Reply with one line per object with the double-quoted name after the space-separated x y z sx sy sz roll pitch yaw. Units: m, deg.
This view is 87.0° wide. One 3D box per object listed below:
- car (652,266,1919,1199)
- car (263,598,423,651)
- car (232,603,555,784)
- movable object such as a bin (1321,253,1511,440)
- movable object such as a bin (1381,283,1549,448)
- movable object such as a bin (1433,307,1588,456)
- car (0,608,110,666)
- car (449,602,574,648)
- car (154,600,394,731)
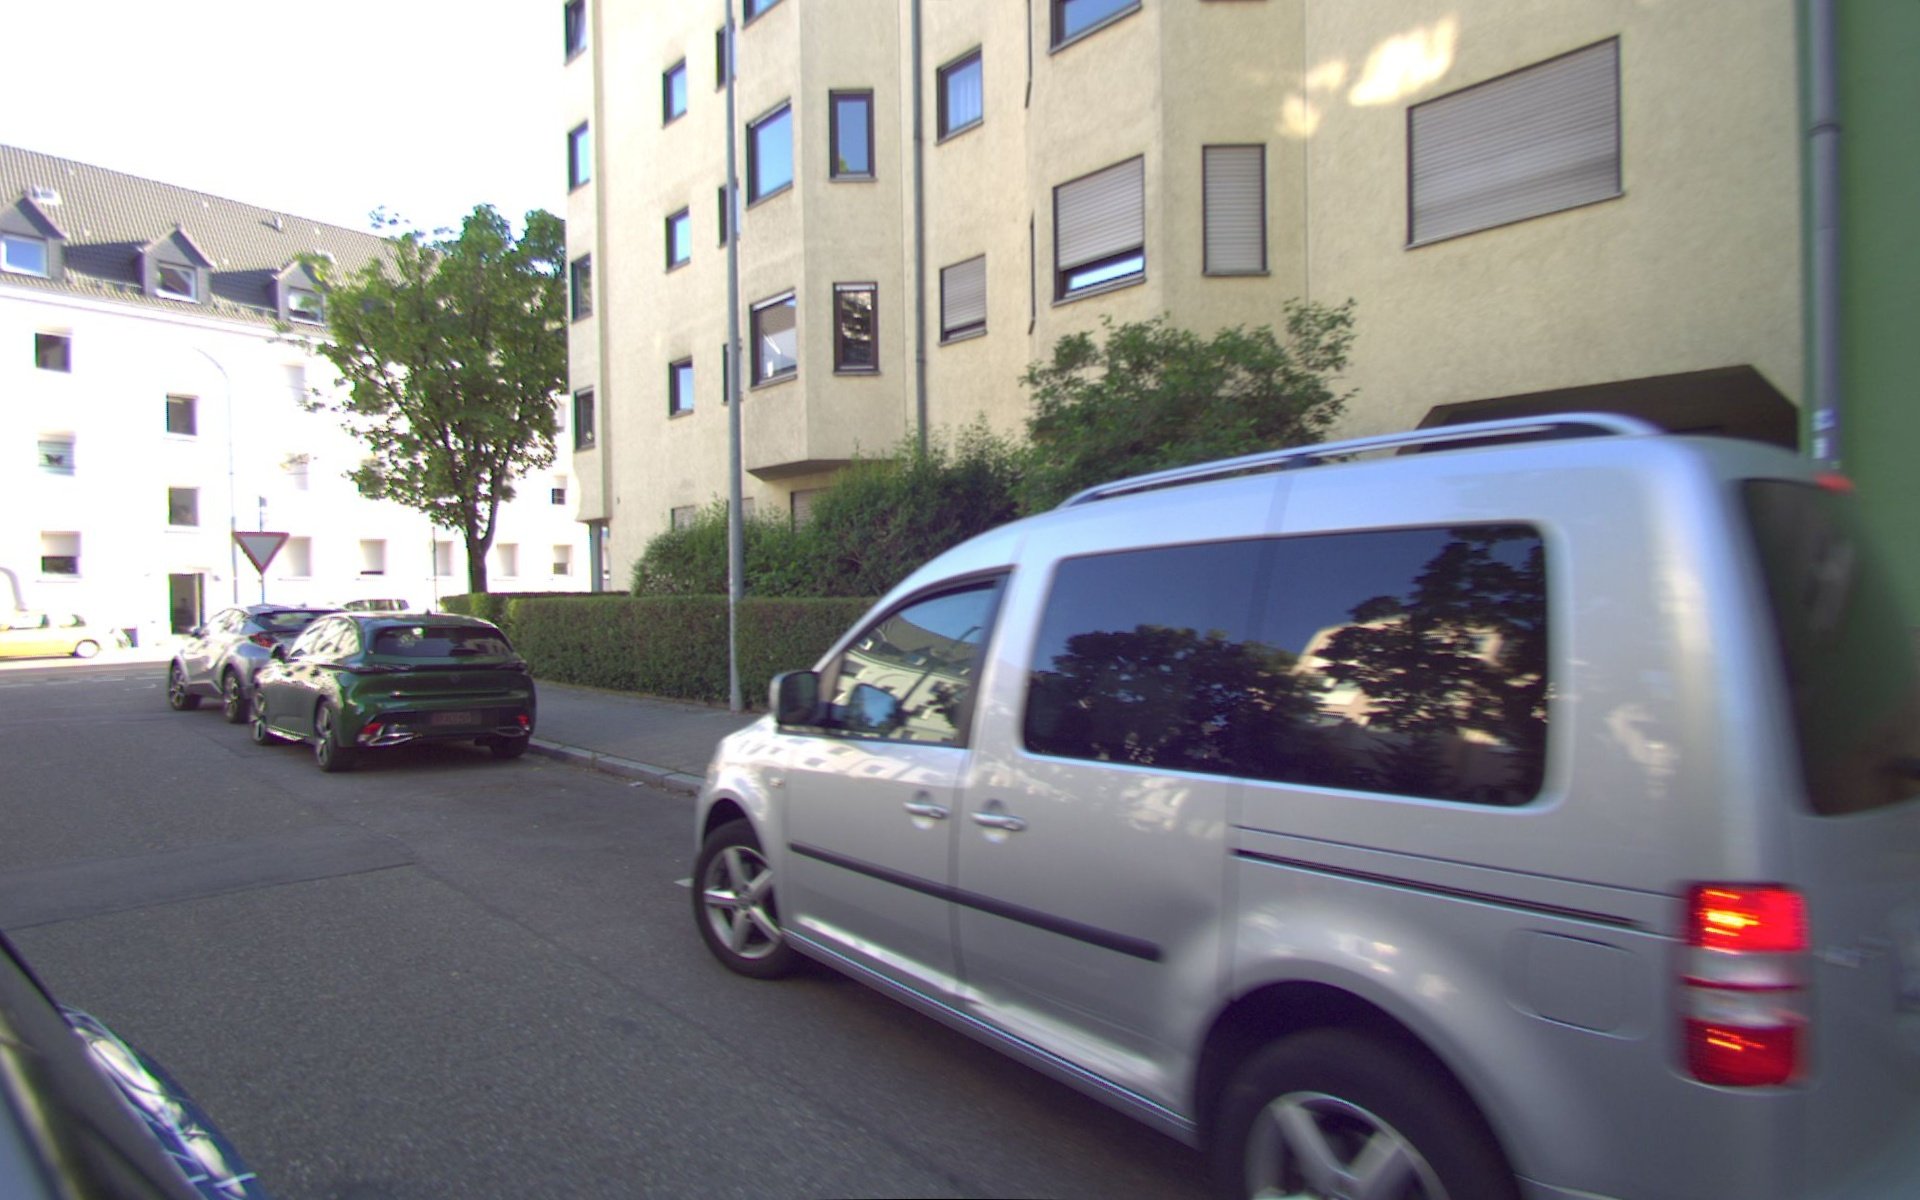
0.677 0.537 3.332 1.748 1.857 4.425 1 -1 -38 "car"
-21.052 0.786 34.680 1.996 1.569 4.234 -1 1 36 "car"
-5.923 0.818 10.346 4.209 1.464 1.746 -1 -3 44 "car"
4.709 -2.522 10.445 1.455 1.442 1.344 -1 0 -45 "movable object such as a bin"
5.737 -2.586 11.498 1.327 1.442 1.344 -1 0 -45 "movable object such as a bin"
6.793 -2.630 12.489 1.327 1.442 1.344 -1 0 -45 "movable object such as a bin"
-26.045 1.016 28.037 1.552 1.459 3.569 0 1 37 "car"
-17.289 0.947 39.155 1.919 1.698 4.025 -1 -1 36 "car"
-9.677 0.821 14.168 4.070 1.567 1.701 -1 -1 40 "car"
